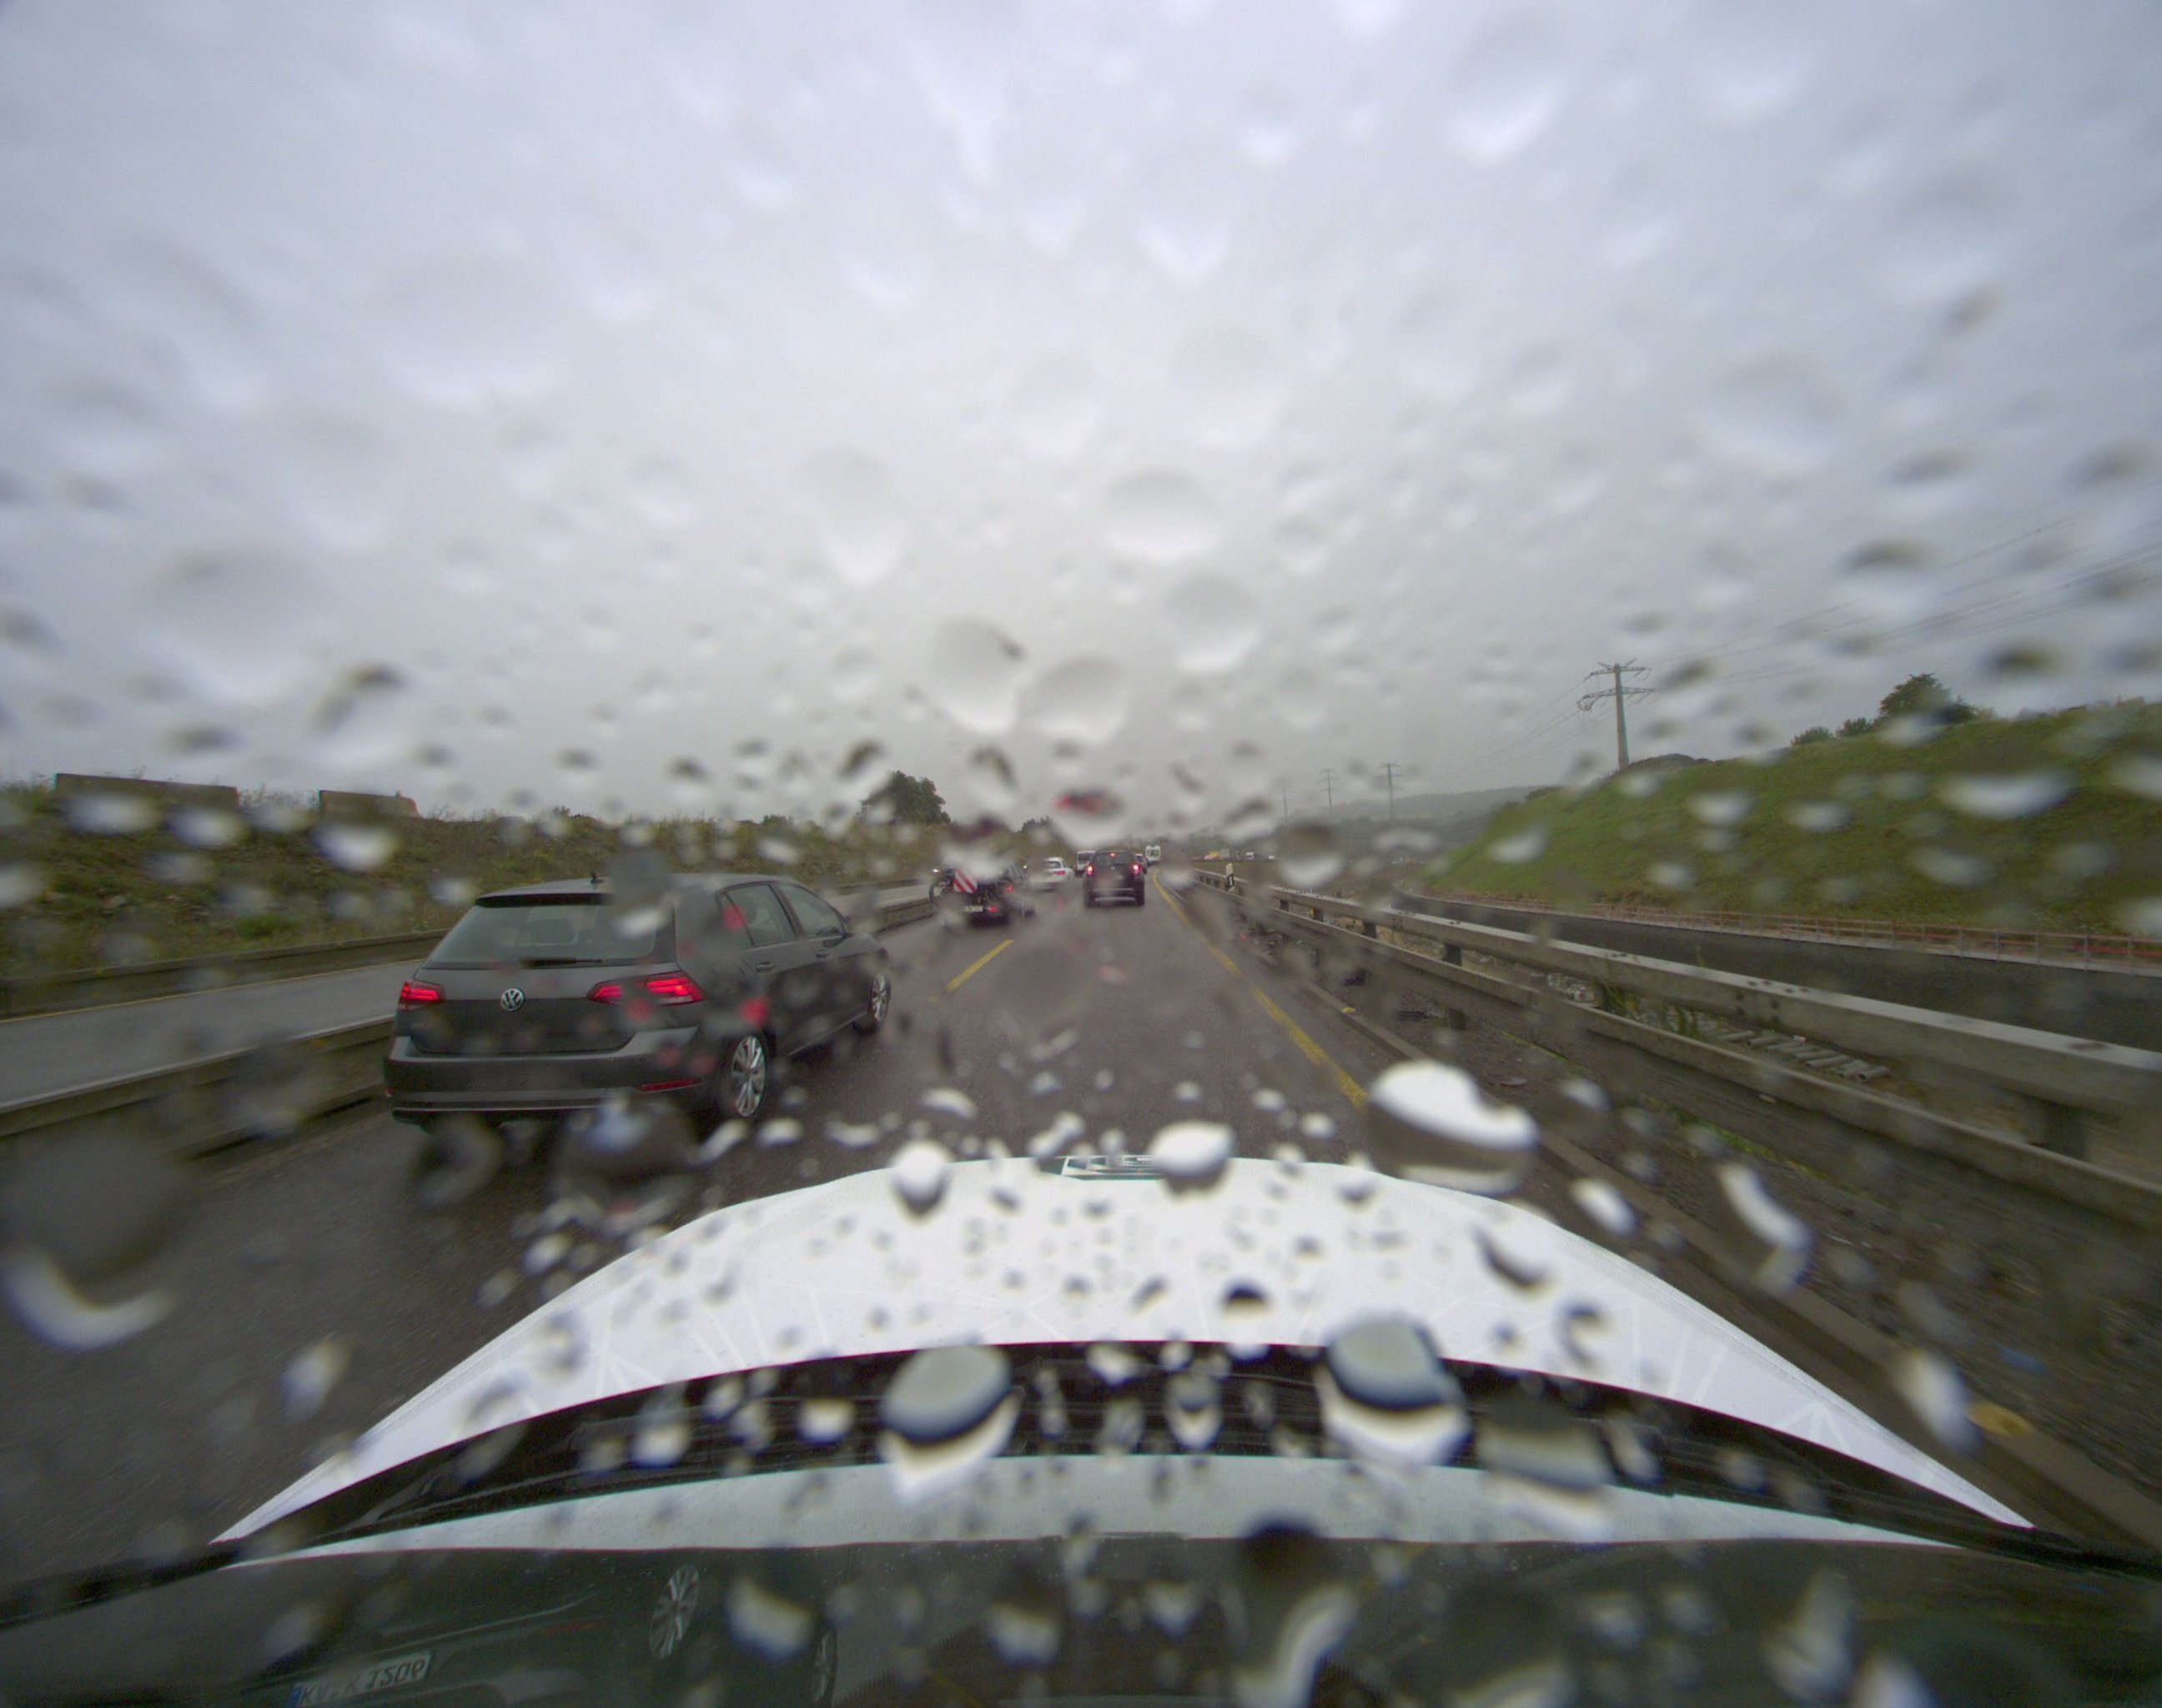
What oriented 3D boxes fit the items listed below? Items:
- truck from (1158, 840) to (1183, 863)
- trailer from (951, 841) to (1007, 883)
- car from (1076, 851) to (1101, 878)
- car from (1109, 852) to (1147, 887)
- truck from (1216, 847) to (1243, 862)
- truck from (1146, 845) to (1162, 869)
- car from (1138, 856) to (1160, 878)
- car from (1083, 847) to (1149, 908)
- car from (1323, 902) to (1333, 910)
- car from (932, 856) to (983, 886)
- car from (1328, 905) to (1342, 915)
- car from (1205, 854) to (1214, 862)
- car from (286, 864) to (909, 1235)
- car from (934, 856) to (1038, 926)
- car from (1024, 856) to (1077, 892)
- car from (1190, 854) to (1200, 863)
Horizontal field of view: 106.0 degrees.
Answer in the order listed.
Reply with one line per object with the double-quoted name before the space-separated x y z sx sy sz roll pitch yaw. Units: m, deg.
"truck" 14.989 -0.396 135.696 3.179 3.761 8.537 0 0 12
"trailer" -6.650 0.461 53.850 2.500 2.564 7.166 0 0 2
"car" 0.577 0.752 59.290 1.653 1.880 4.022 0 0 2
"car" 2.417 0.770 42.616 1.860 1.708 4.002 0 0 2
"truck" 43.958 0.192 240.012 4.676 4.150 15.767 0 0 22
"truck" 9.692 0.378 108.587 2.139 3.166 6.467 0 0 4
"car" 5.228 0.955 62.805 1.524 1.640 4.016 0 0 3
"car" 1.128 0.663 24.526 1.796 1.646 3.781 -1 -1 5
"car" 61.397 12.972 202.653 1.980 1.816 4.013 -1 -1 12
"car" -7.165 0.959 47.712 1.986 1.586 5.122 0 0 2
"car" 58.106 12.842 186.368 2.351 2.014 4.011 0 0 9
"car" 29.892 0.940 189.346 1.763 1.916 4.014 0 0 13
"car" -2.558 0.871 5.706 1.608 1.506 4.369 -3 -1 1
"car" -2.151 0.814 19.421 1.821 1.476 3.779 -1 -1 3
"car" -1.285 0.842 36.034 1.859 1.460 4.553 0 0 4
"car" 23.590 0.979 168.646 1.763 1.916 4.014 0 0 13
